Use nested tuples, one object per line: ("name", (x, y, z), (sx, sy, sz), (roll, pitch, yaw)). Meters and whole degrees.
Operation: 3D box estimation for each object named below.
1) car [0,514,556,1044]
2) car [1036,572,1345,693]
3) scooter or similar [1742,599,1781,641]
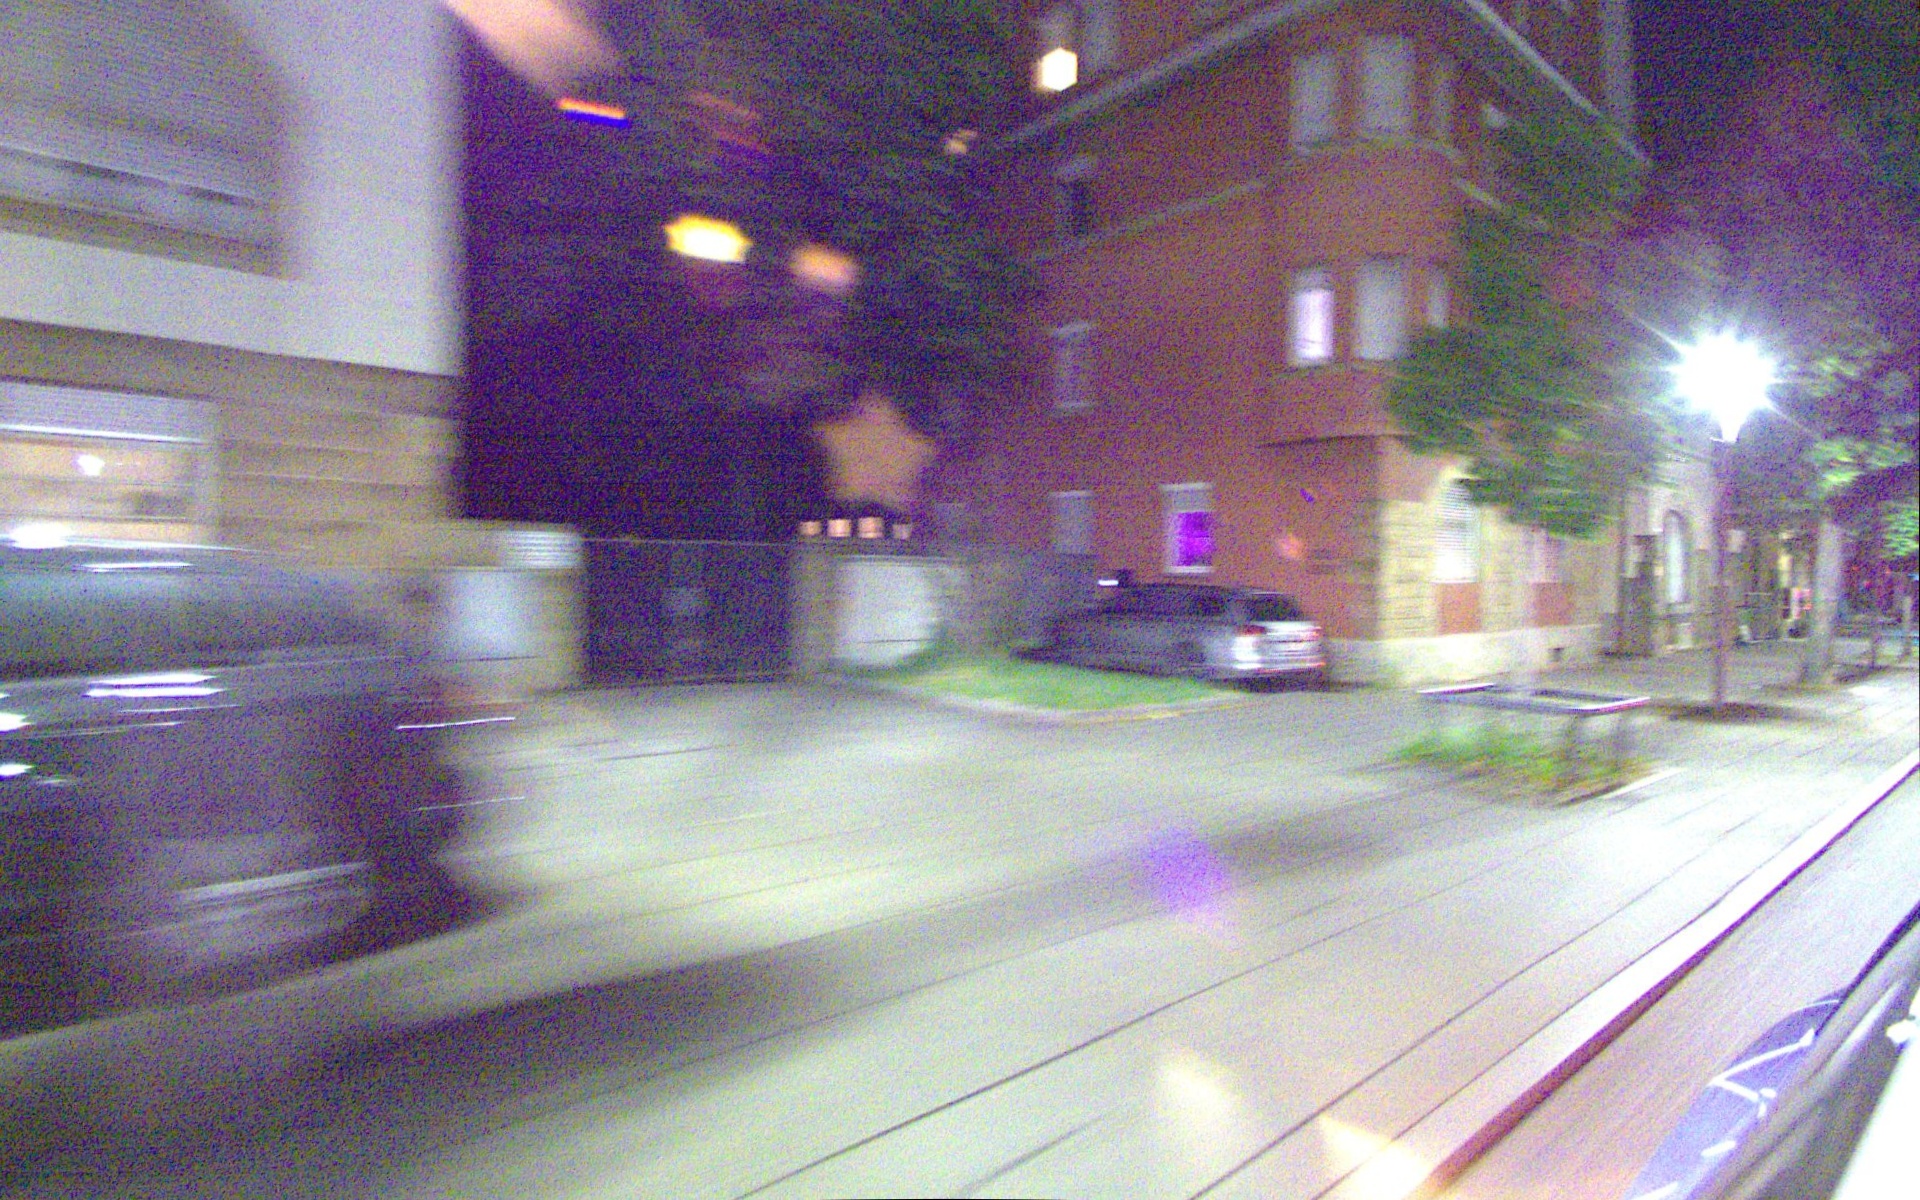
("car", (-3.813, 0.493, 2.903), (1.734, 1.478, 4.651), (1, 1, 45))
("car", (3.232, 0.368, 15.078), (1.755, 1.478, 4.442), (1, 1, -35))
("scooter or similar", (22.771, 0.555, 28.749), (1.464, 1.144, 0.423), (0, 1, -33))
